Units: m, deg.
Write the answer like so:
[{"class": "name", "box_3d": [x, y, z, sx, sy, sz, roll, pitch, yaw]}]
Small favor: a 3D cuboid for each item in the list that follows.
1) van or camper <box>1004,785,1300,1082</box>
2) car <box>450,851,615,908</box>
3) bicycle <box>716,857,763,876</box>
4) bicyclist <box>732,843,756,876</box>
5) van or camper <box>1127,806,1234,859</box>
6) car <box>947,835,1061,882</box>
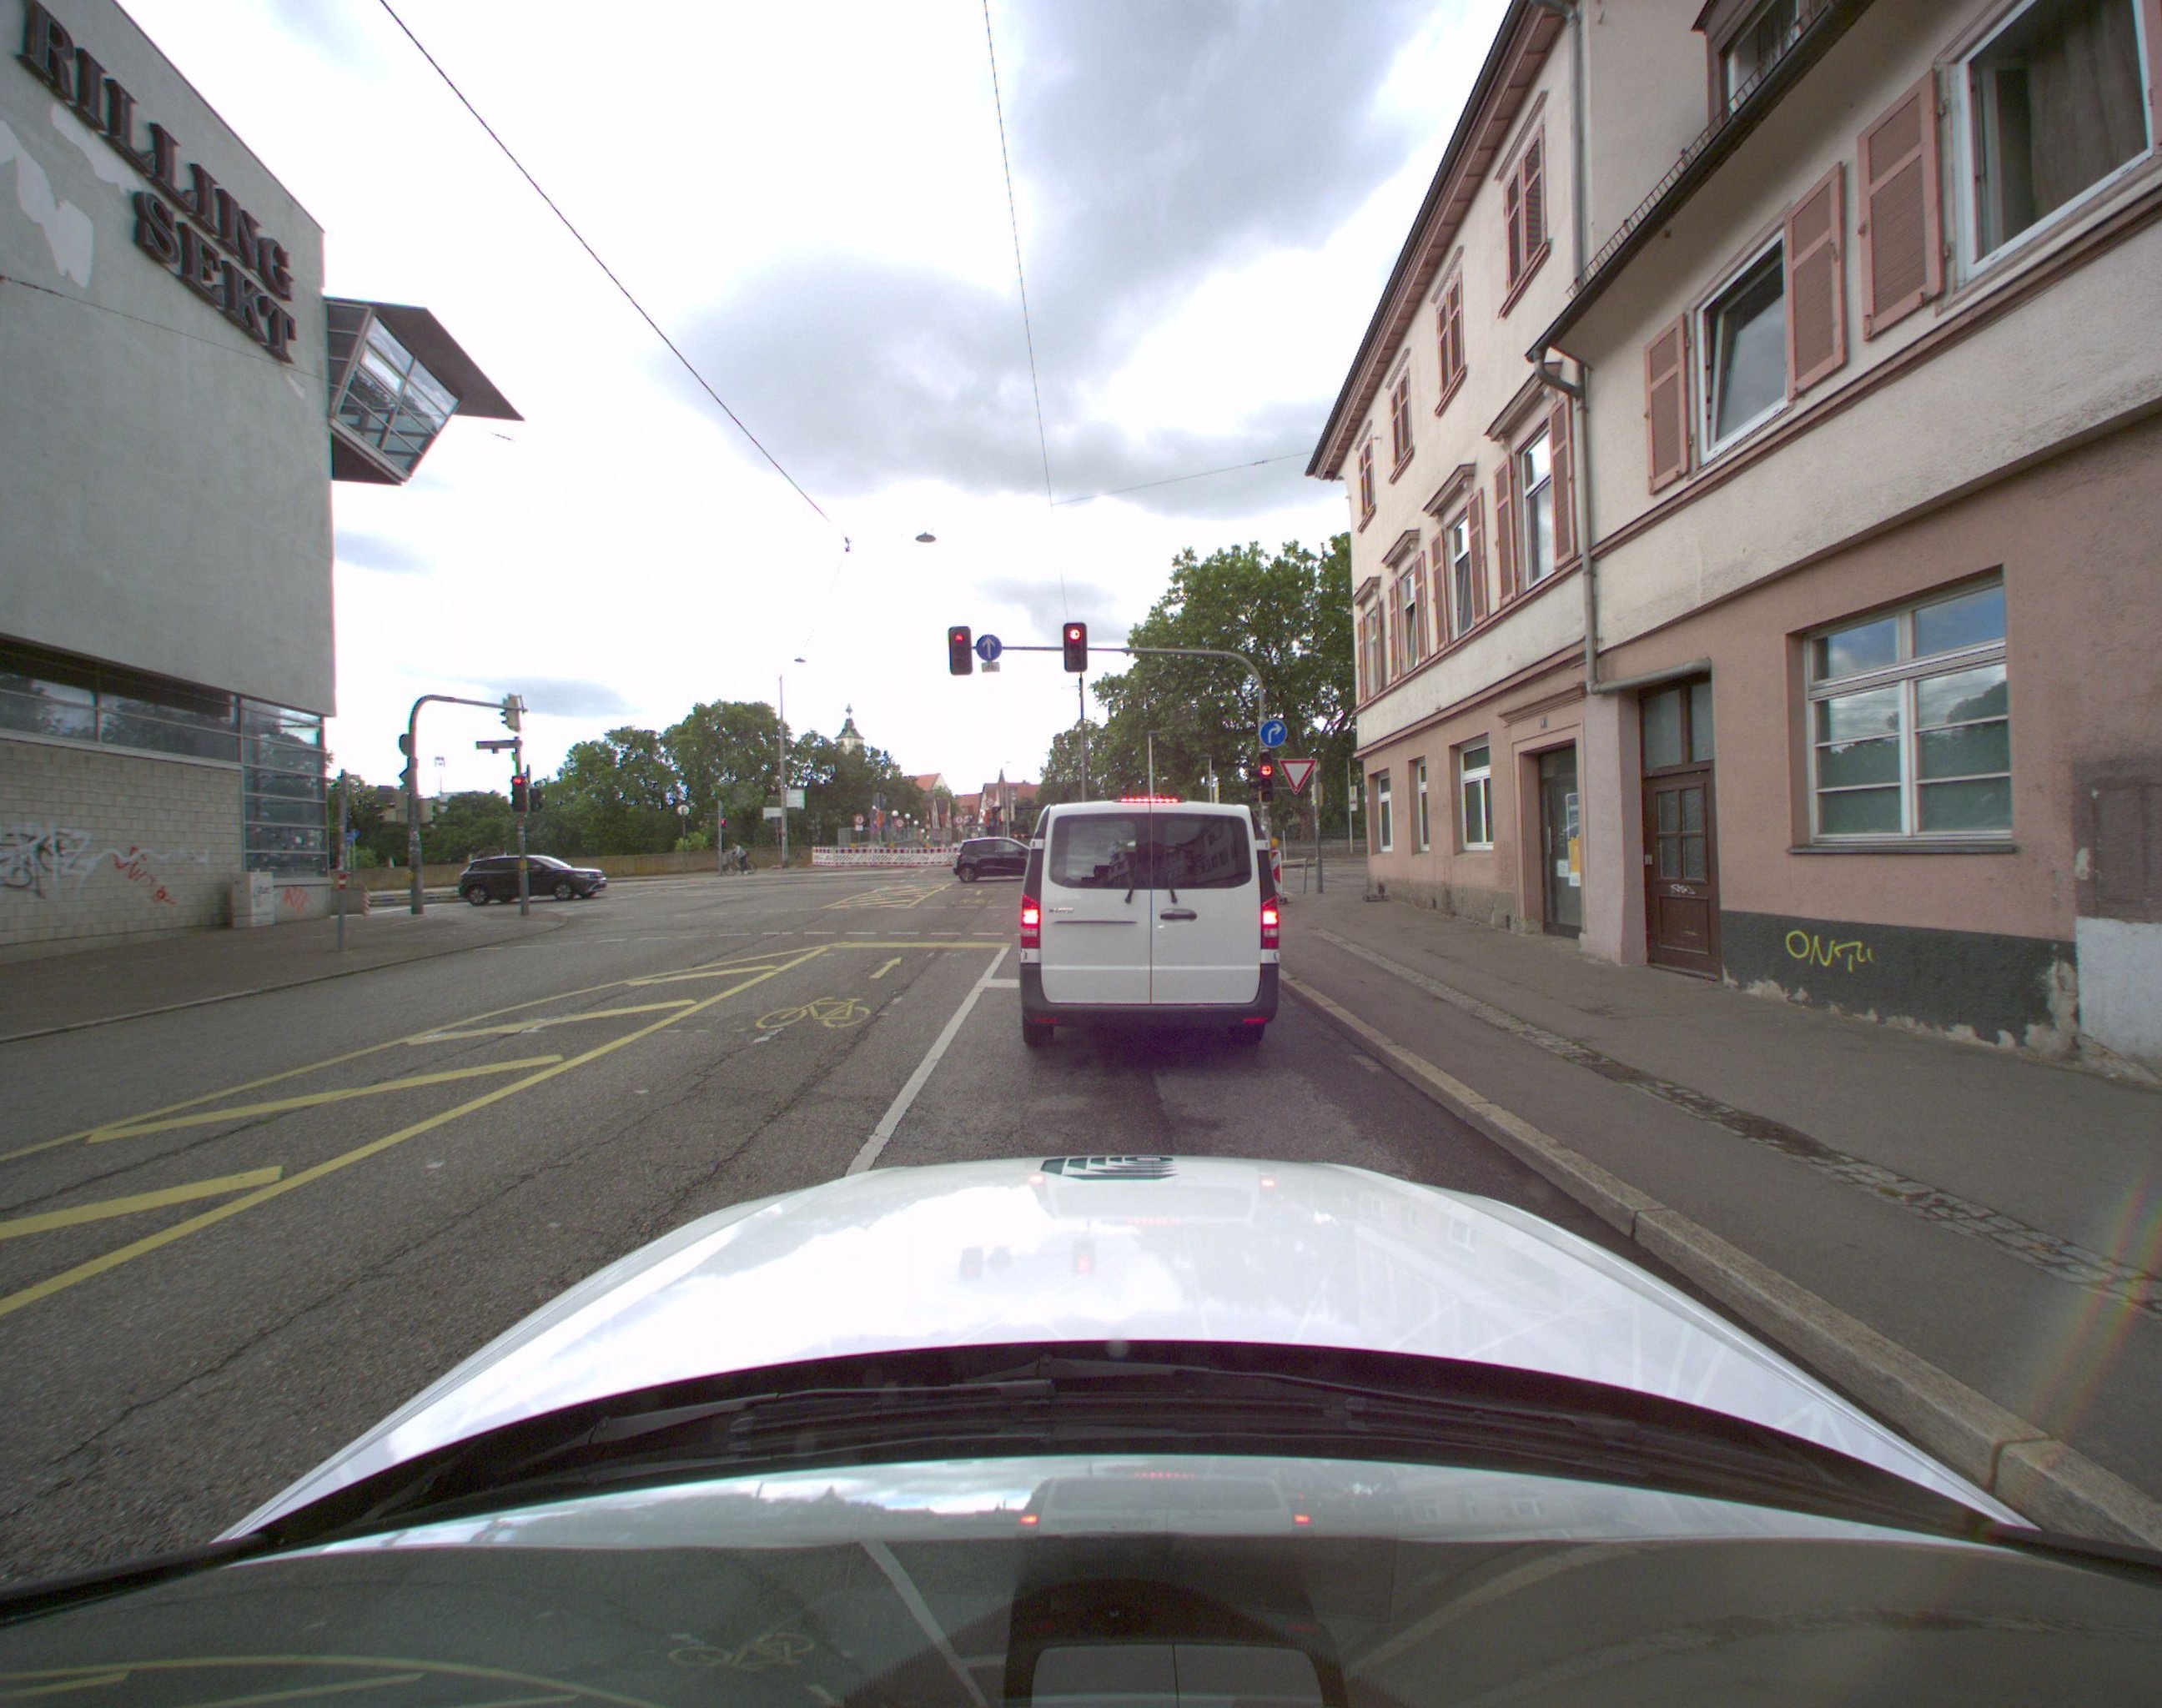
[{"class": "van or camper", "box_3d": [0.431, 0.448, 7.539, 1.932, 1.924, 4.439, 0, 2, -1]}, {"class": "car", "box_3d": [-18.094, 0.801, 27.055, 4.072, 1.573, 1.821, -3, 2, -11]}, {"class": "bicycle", "box_3d": [-18.222, 0.644, 43.503, 2.149, 0.892, 0.751, -3, 2, -39]}, {"class": "bicyclist", "box_3d": [-18.056, 0.270, 43.630, 1.010, 1.743, 0.746, -2, 1, -39]}, {"class": "van or camper", "box_3d": [5.367, -1.165, 44.459, 5.385, 2.514, 2.032, -3, -1, -6]}, {"class": "car", "box_3d": [-2.603, 0.134, 28.173, 3.733, 1.428, 1.828, -2, 2, -1]}]
